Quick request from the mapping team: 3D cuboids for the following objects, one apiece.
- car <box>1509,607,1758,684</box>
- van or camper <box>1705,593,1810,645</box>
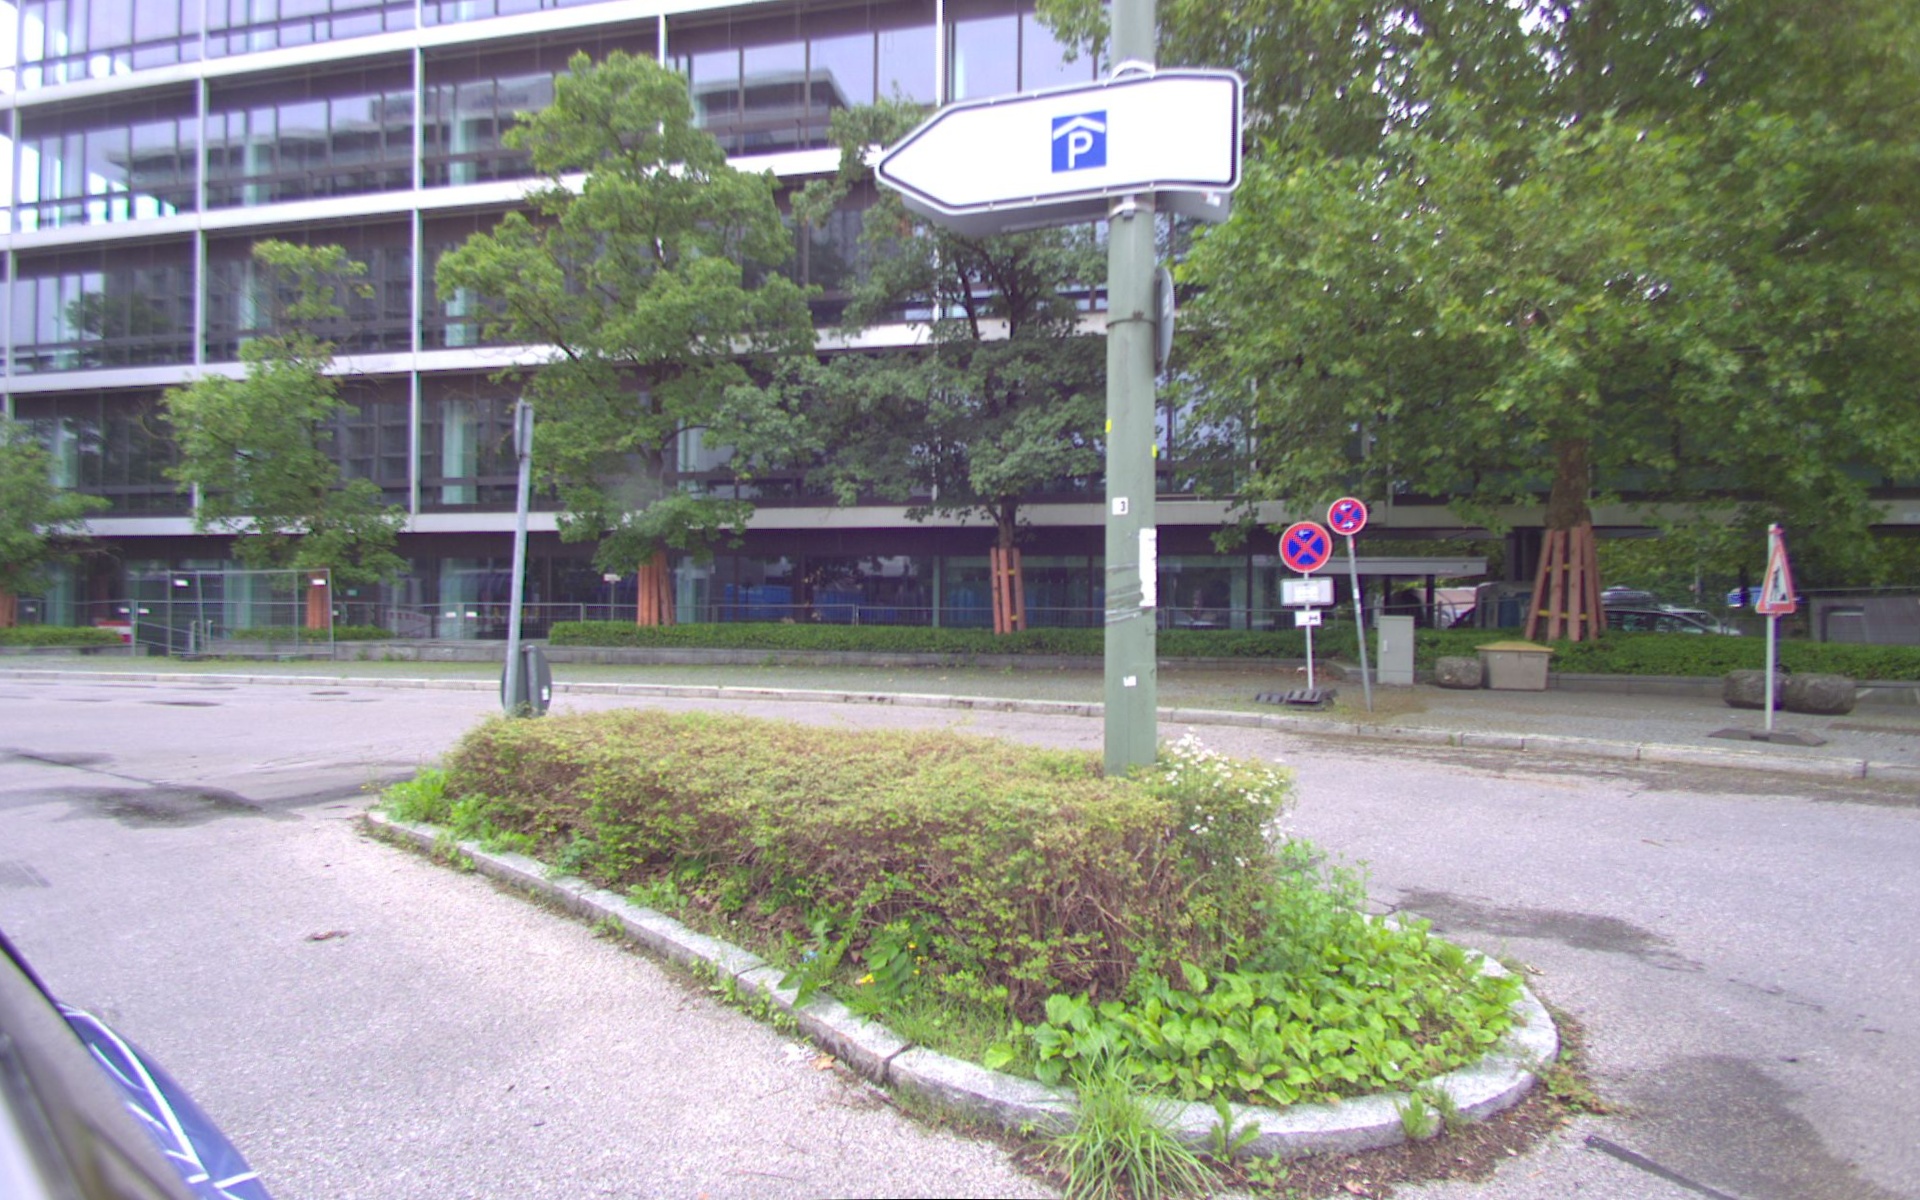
[{"bbox_3d":[13.688,0.886,20.833,3.824,1.484,1.904,0,-1,15],"label":"car"},{"bbox_3d":[41.556,1.001,52.912,2.252,2.615,4.639,0,-1,8],"label":"van or camper"}]
